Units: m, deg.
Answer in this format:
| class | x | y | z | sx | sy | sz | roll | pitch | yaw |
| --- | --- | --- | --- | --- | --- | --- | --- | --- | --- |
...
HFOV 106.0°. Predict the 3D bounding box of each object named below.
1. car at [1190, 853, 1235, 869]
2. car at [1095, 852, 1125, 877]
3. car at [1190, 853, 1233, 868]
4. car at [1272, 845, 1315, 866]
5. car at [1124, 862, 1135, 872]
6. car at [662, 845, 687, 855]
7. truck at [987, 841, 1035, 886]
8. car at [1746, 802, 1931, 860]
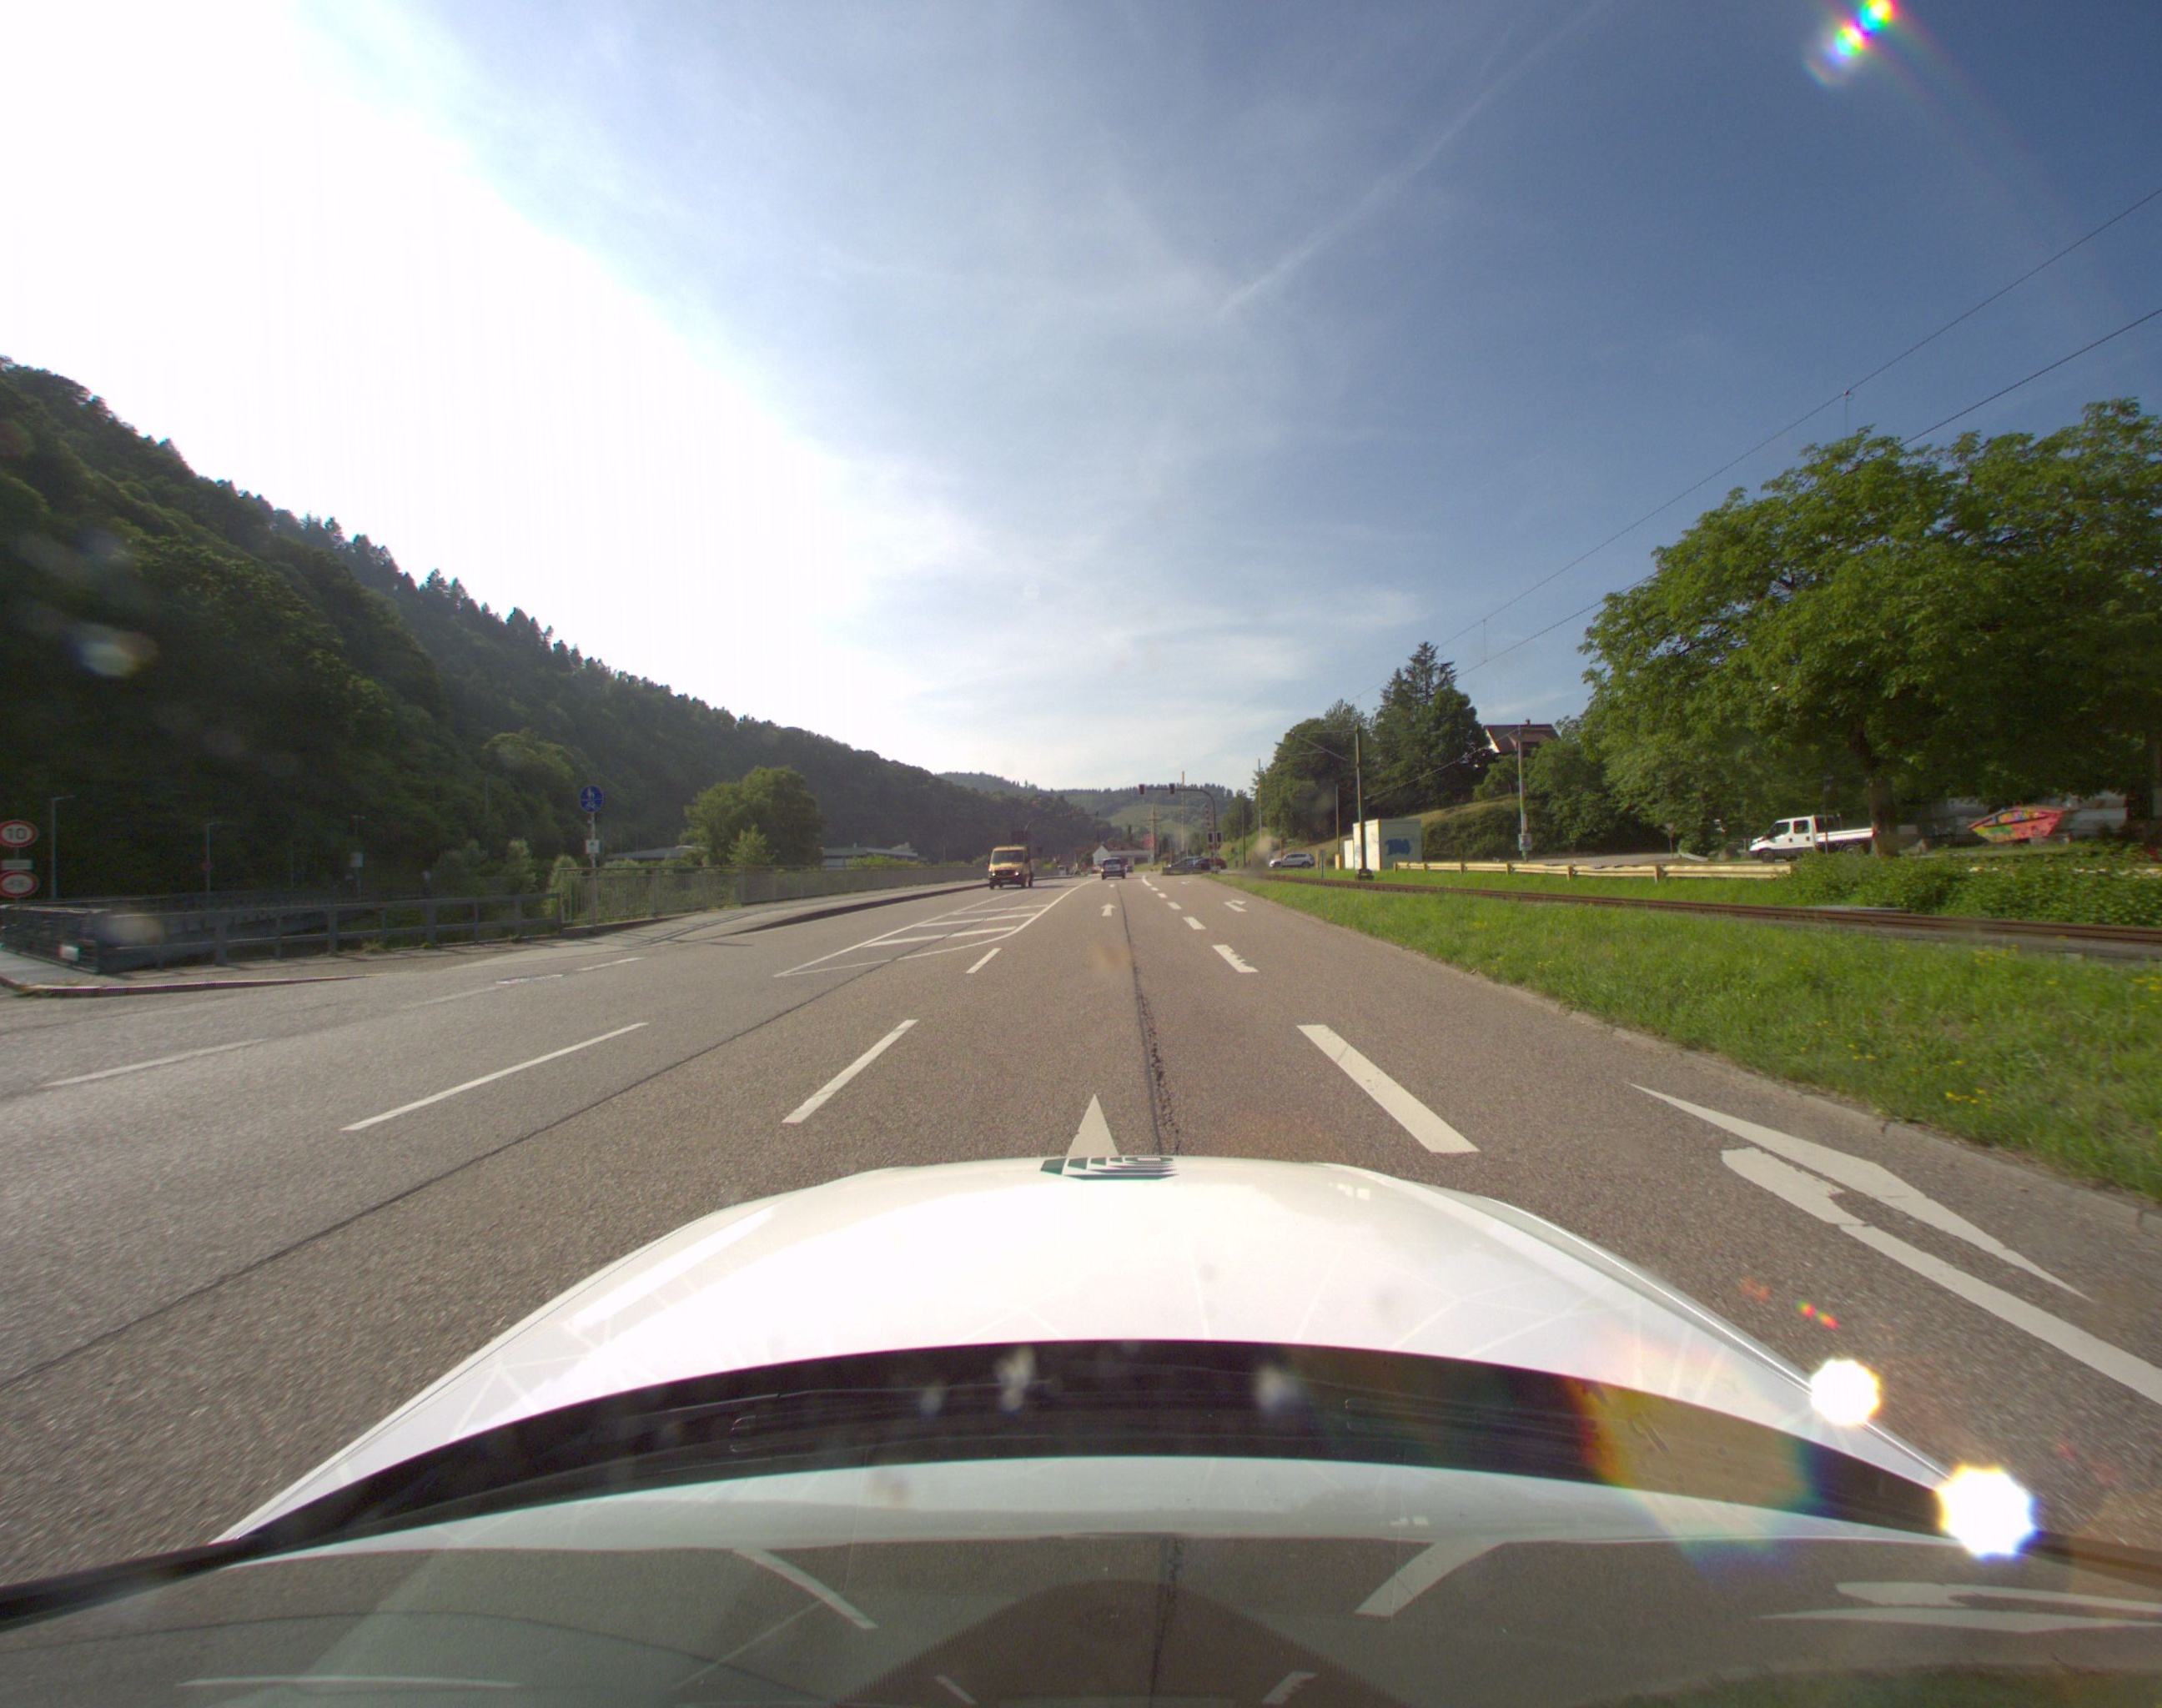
| class | x | y | z | sx | sy | sz | roll | pitch | yaw |
| --- | --- | --- | --- | --- | --- | --- | --- | --- | --- |
| car | 12.516 | 0.654 | 77.545 | 3.956 | 1.354 | 1.886 | -2 | 0 | 16 |
| car | 2.286 | 0.810 | 63.190 | 1.984 | 1.723 | 3.996 | -4 | -1 | 5 |
| car | 12.818 | 0.636 | 80.077 | 3.956 | 1.354 | 1.886 | -2 | 0 | 16 |
| car | 20.625 | 0.181 | 79.056 | 3.956 | 1.882 | 1.886 | -2 | 0 | 16 |
| car | 10.261 | 2.655 | 172.646 | 1.986 | 2.013 | 4.001 | -2 | 0 | 2 |
| car | -93.706 | -0.915 | 187.694 | 4.725 | 2.013 | 1.999 | -4 | -1 | -2 |
| truck | -3.870 | 0.514 | 46.151 | 1.986 | 2.343 | 5.700 | -2 | 0 | 2 |
| car | 36.040 | -1.009 | 39.058 | 2.383 | 2.330 | 5.996 | -3 | -1 | -19 |
